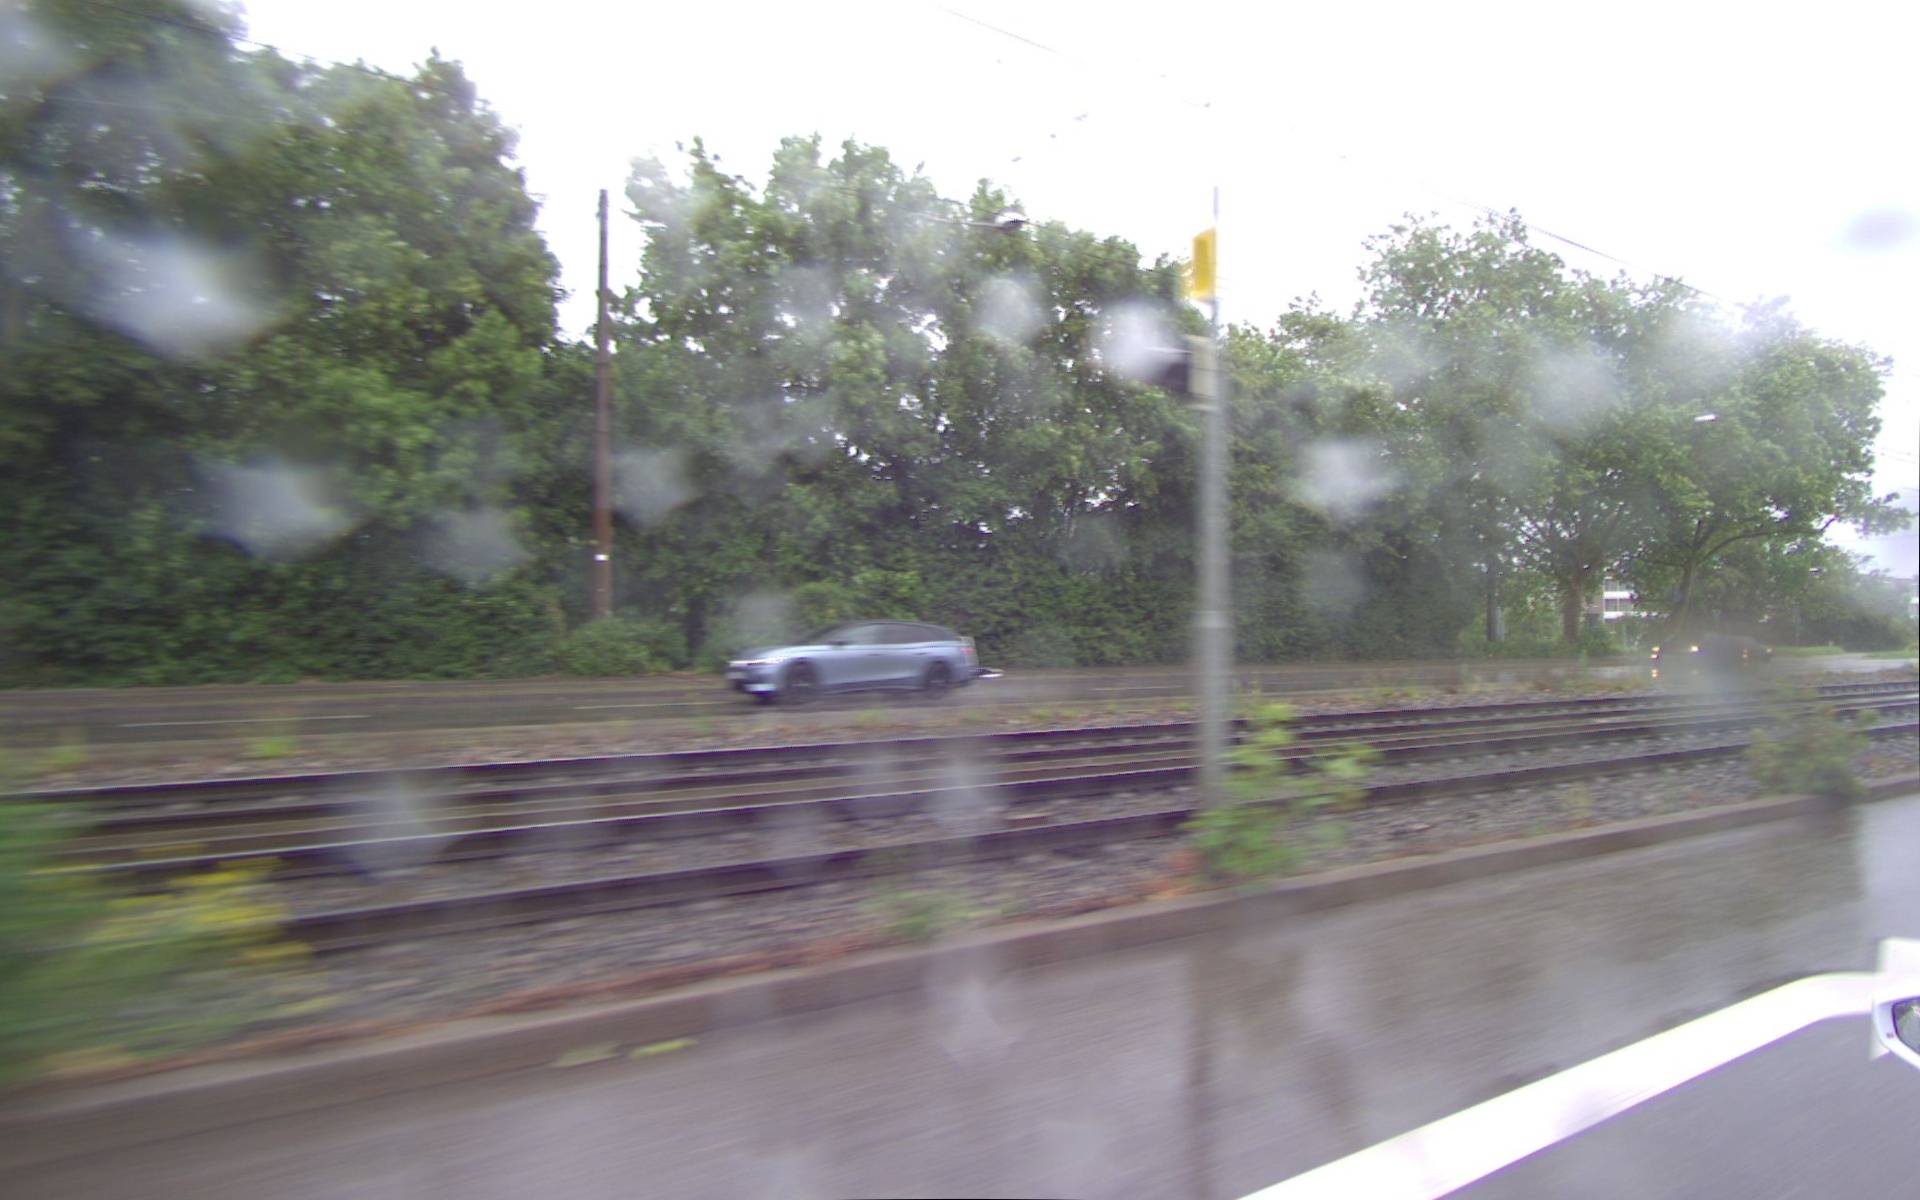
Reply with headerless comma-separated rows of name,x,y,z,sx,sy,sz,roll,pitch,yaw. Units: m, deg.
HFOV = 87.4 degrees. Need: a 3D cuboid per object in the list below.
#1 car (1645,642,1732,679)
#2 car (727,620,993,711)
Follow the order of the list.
car,30.979,2.541,42.687,3.896,1.424,1.673,2,-1,-32
car,-1.854,1.188,19.444,4.901,1.543,1.681,1,-1,-32
